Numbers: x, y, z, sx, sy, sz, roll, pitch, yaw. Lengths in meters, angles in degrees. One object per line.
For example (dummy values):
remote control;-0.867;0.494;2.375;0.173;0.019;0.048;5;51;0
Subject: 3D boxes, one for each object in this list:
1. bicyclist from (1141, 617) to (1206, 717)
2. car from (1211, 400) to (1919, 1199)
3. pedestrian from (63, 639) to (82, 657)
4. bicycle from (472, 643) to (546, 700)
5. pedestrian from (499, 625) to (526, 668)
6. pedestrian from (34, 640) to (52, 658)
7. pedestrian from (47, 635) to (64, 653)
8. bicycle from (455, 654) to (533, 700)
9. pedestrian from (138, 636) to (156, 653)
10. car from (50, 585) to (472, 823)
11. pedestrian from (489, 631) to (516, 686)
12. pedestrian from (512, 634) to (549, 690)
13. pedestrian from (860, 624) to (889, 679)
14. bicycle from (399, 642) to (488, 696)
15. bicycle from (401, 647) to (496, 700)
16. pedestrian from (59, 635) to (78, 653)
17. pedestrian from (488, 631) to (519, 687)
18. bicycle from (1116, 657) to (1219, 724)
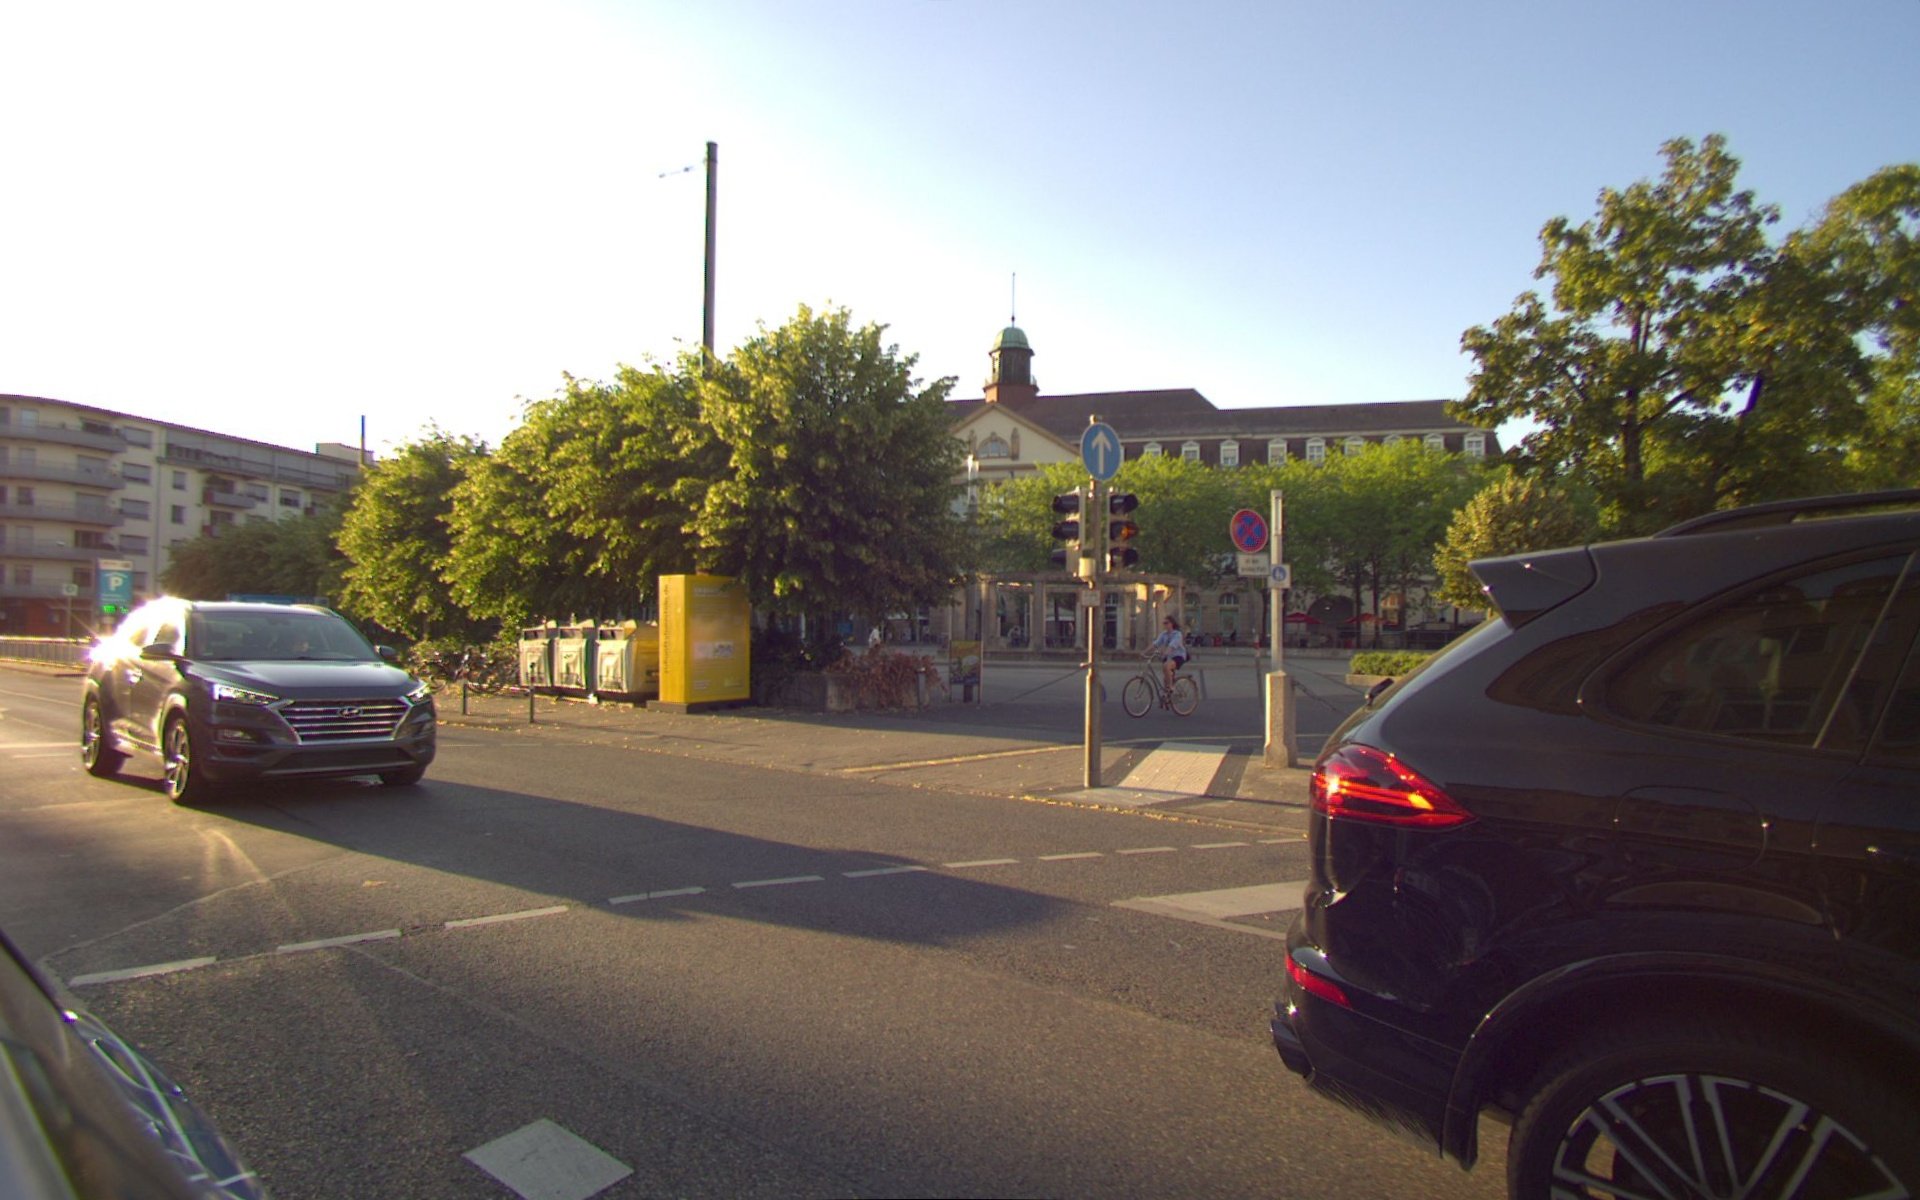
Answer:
bicyclist;3.832;1.189;18.185;0.766;1.737;0.857;2;-3;-37
car;2.934;0.570;1.605;4.556;1.727;1.930;-2;-4;38
pedestrian;-65.143;3.496;74.313;0.883;1.332;0.727;-1;-3;25
bicycle;-10.566;1.649;23.752;0.444;1.262;1.572;-2;-2;36
pedestrian;-21.318;2.222;48.191;0.735;2.029;0.898;-1;-3;26
pedestrian;-65.962;3.527;72.796;0.887;1.332;0.724;-2;-3;37
pedestrian;-65.594;3.192;73.387;0.887;1.332;0.724;-2;-3;36
bicycle;-11.033;1.802;23.998;0.547;0.986;1.659;-1;-2;34
pedestrian;-63.789;3.456;79.404;0.721;1.332;0.891;1;-2;-13
car;-6.575;0.842;9.355;4.442;1.702;1.855;-2;-4;37
pedestrian;-17.332;2.202;38.327;0.890;2.029;0.741;1;-3;-25
pedestrian;-15.742;2.260;37.125;0.851;2.029;0.899;-1;-3;25
pedestrian;-2.587;1.531;30.617;0.693;1.633;0.843;1;-1;-17
bicycle;-13.060;1.721;25.642;0.547;1.262;2.008;-1;-2;34
bicycle;-12.115;1.721;24.030;0.547;1.143;2.008;-1;-2;34
pedestrian;-65.993;3.246;74.912;0.813;1.332;0.685;-1;-2;14
pedestrian;-16.990;2.190;37.664;0.738;2.029;0.754;-2;-3;40
bicycle;3.717;1.593;18.073;1.889;1.126;0.707;2;-3;-35
